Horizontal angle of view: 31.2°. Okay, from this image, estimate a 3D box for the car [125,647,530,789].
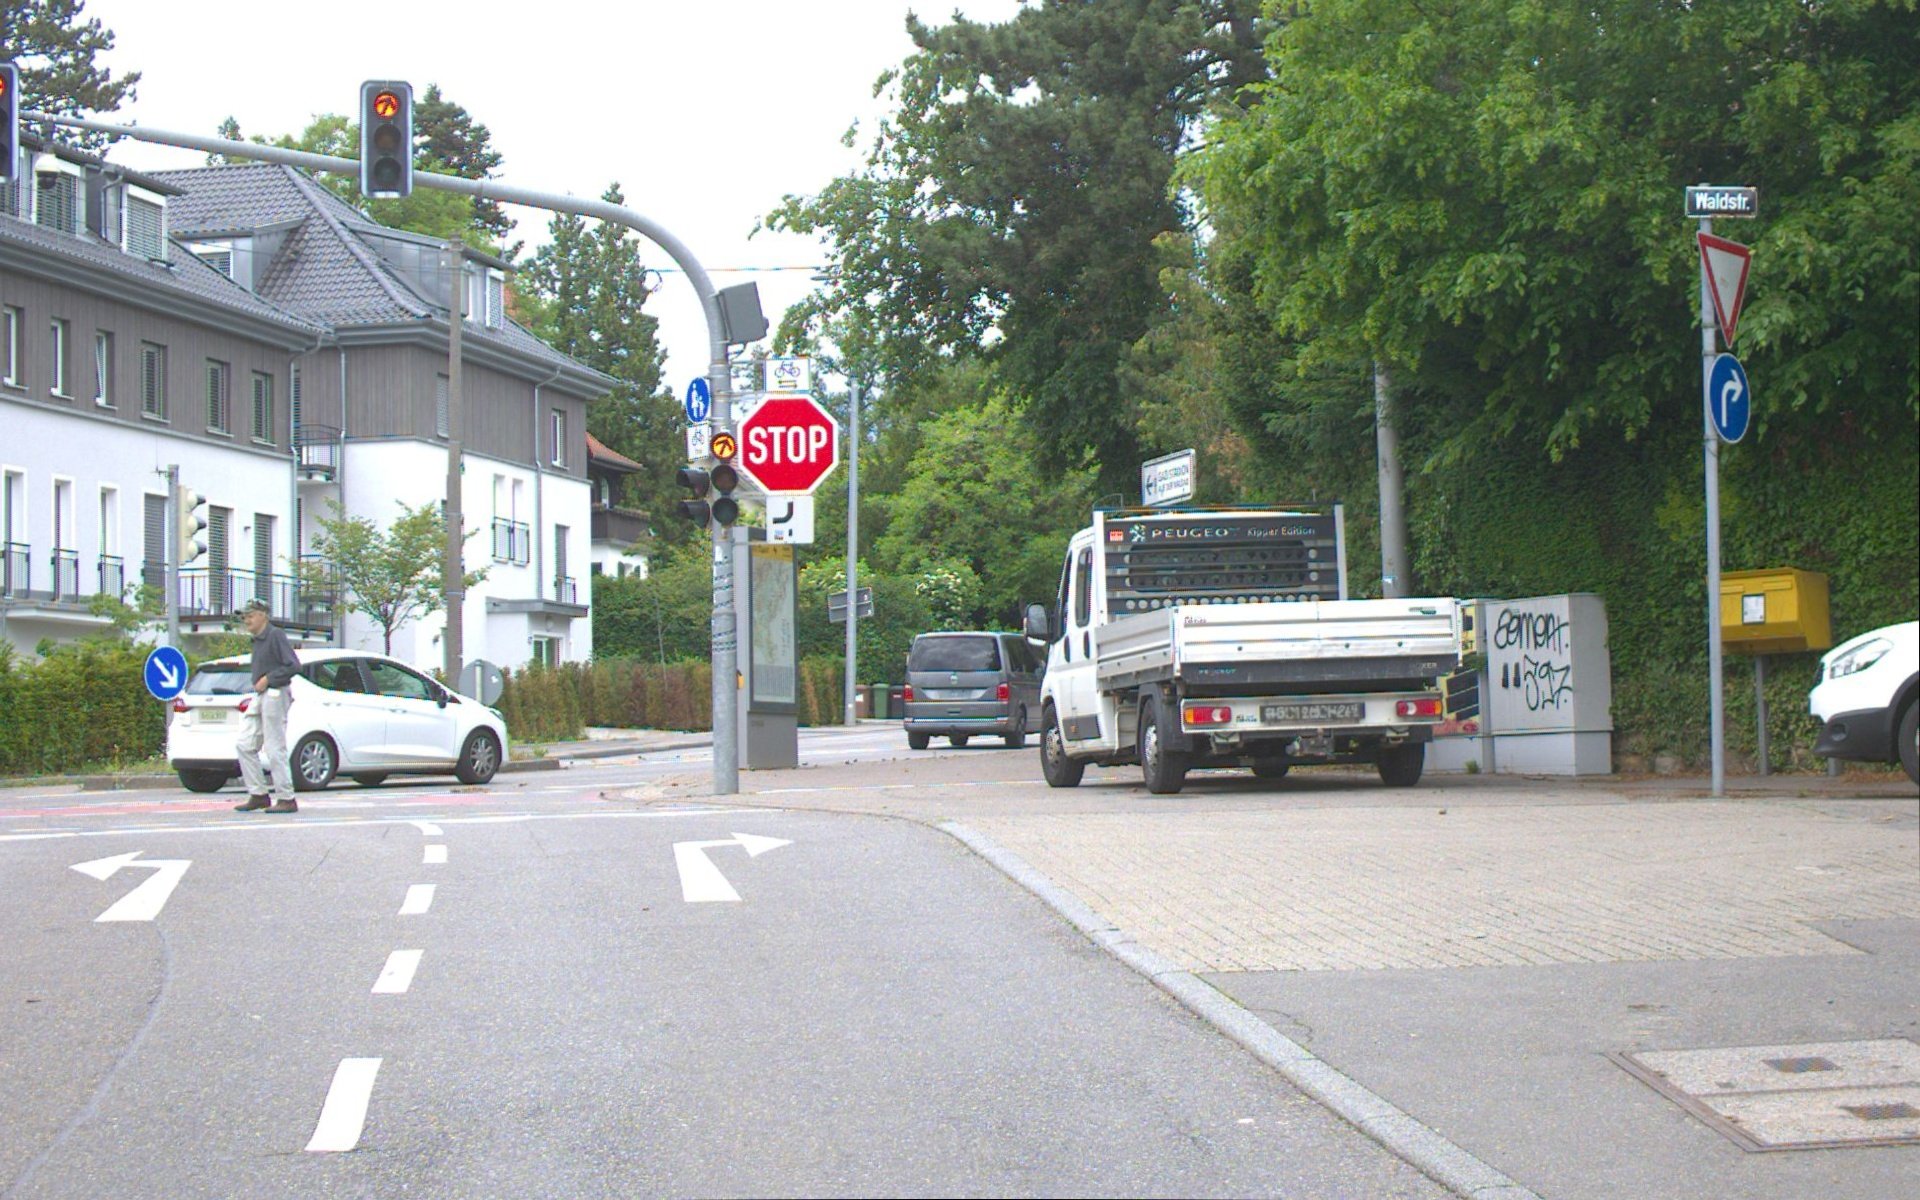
[{"bbox_3d":[-6.539,1.200,35.880,1.934,1.378,3.992,-2,-1,33],"label":"car"}]

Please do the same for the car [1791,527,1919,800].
[{"bbox_3d":[7.209,0.378,20.662,4.243,1.588,1.986,-1,-3,15],"label":"car"}]

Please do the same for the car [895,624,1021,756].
[{"bbox_3d":[-0.073,1.466,57.892,1.993,2.007,4.510,-1,1,-1],"label":"car"}]

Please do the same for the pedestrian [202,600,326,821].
[{"bbox_3d":[-5.417,0.845,26.750,0.698,1.676,0.686,-1,1,-38],"label":"pedestrian"}]

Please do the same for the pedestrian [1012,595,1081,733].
[{"bbox_3d":[1.282,0.944,50.951,0.839,2.007,0.588,-2,-1,19],"label":"pedestrian"}]

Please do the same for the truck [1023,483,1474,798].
[{"bbox_3d":[2.087,0.386,27.031,2.183,2.188,5.882,0,-2,-9],"label":"truck"}]
